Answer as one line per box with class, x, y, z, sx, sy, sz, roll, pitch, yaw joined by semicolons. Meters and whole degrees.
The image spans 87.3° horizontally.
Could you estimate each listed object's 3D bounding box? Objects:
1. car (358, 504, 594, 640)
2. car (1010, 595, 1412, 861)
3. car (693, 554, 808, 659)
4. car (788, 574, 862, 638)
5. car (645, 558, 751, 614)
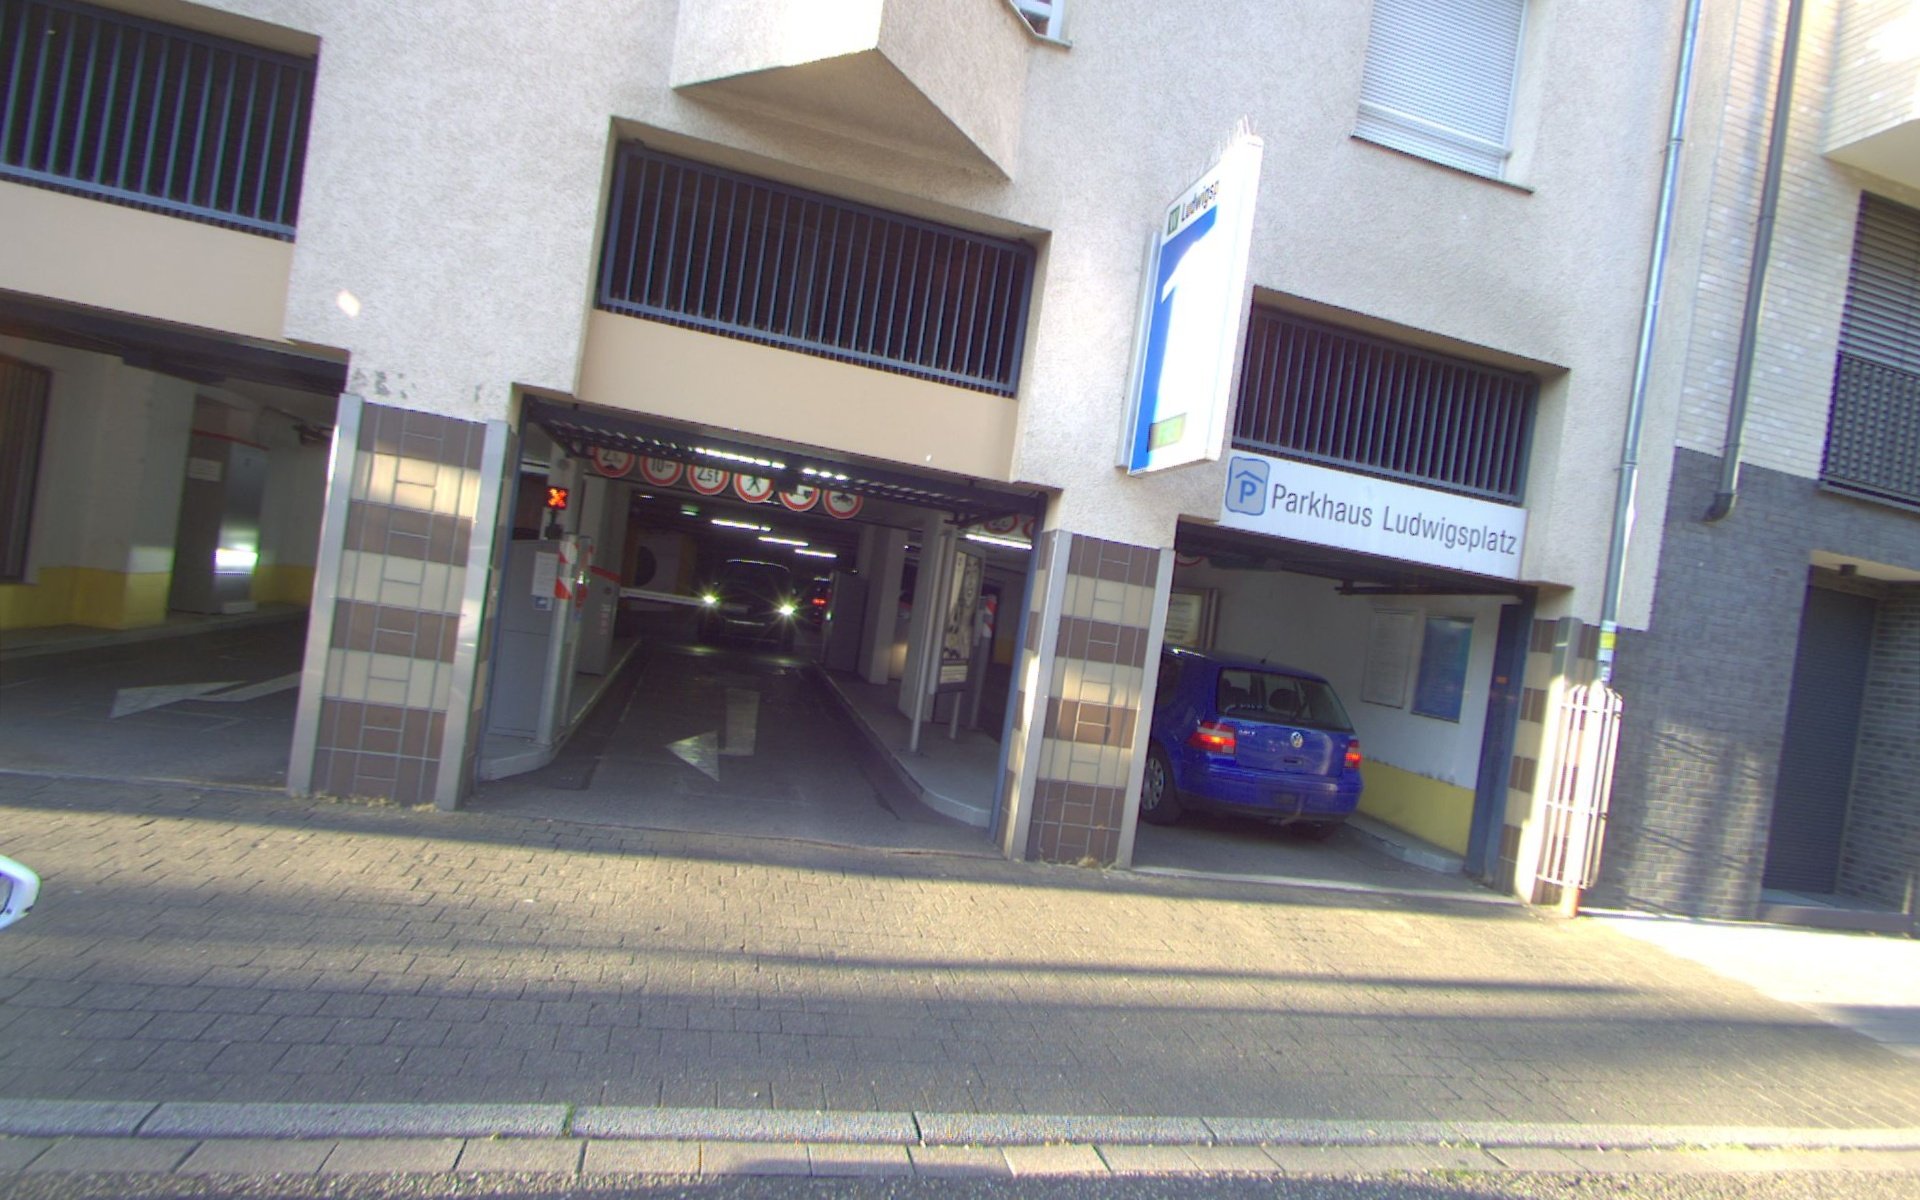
car;-7.246;-0.403;15.582;1.787;1.592;4.245;8;0;-6
car;2.008;0.978;9.460;1.668;1.583;4.102;8;2;-16
car;-4.148;0.100;20.542;1.860;1.643;4.293;9;0;-9
car;-4.438;0.148;32.604;1.538;1.638;3.864;8;1;-18
car;-9.355;-0.527;35.798;3.823;1.408;1.602;9;1;39
